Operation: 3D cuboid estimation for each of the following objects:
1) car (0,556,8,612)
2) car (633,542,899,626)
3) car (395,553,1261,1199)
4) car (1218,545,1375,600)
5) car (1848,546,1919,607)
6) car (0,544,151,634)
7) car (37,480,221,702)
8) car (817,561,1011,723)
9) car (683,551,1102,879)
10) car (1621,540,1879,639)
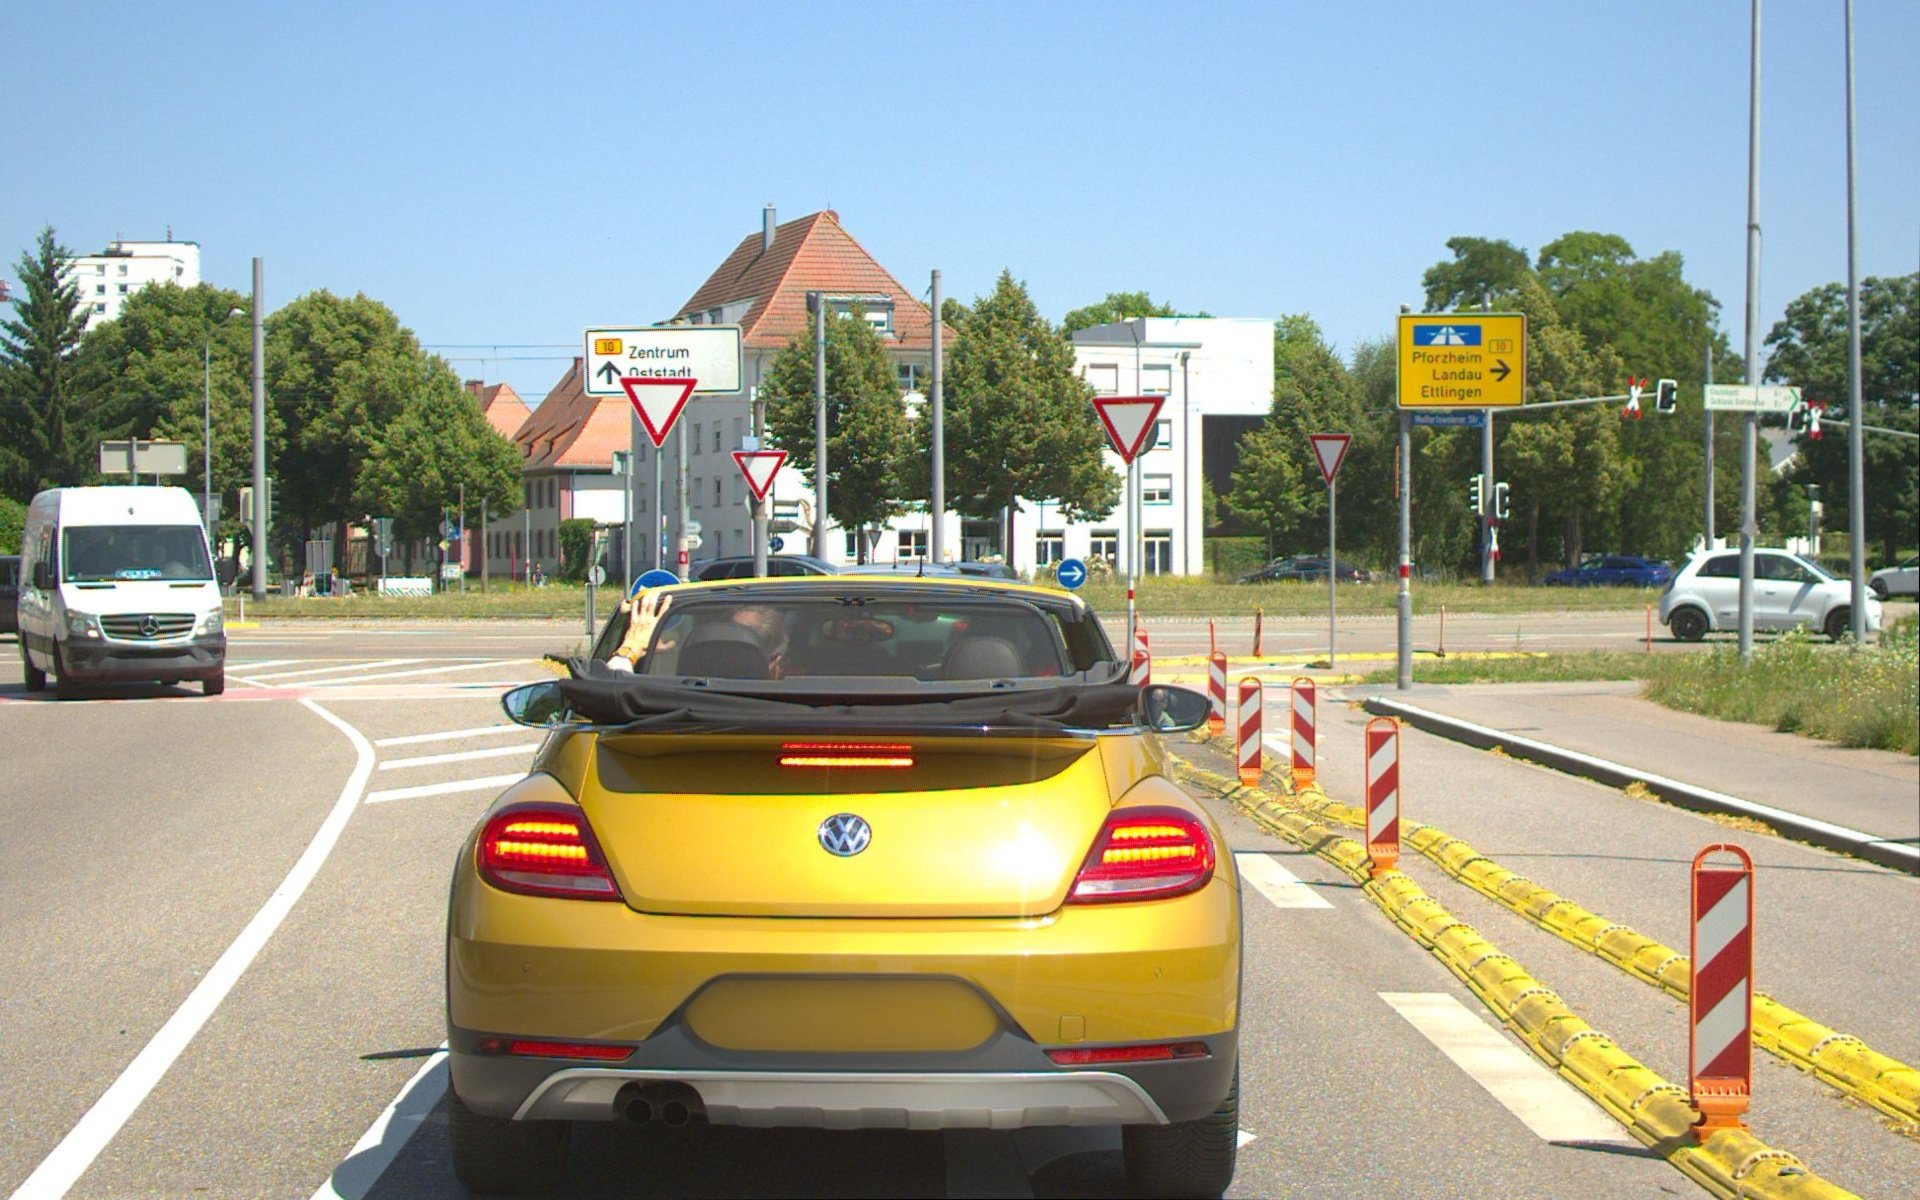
[{"bbox_3d":[-27.224,-0.439,93.156,1.756,1.544,4.000,1,1,0],"label":"car"},{"bbox_3d":[-3.344,-0.283,59.470,4.196,1.386,1.900,1,0,15],"label":"car"},{"bbox_3d":[-0.293,0.604,8.902,1.752,1.417,3.777,1,1,-1],"label":"car"},{"bbox_3d":[11.503,-0.938,117.556,4.922,1.780,2.024,-1,1,24],"label":"car"},{"bbox_3d":[28.854,-0.708,101.839,2.019,1.780,5.181,-1,1,-26],"label":"car"},{"bbox_3d":[-17.177,-0.228,63.517,4.442,1.590,1.996,1,1,38],"label":"car"},{"bbox_3d":[-10.458,-0.132,43.119,2.019,2.530,6.830,-1,1,-14],"label":"car"},{"bbox_3d":[-0.435,0.361,33.035,1.736,1.437,4.000,1,1,0],"label":"car"},{"bbox_3d":[-0.316,0.493,17.259,1.848,1.437,4.000,1,1,0],"label":"car"},{"bbox_3d":[12.931,-0.180,56.470,3.988,1.547,1.740,1,0,9],"label":"car"}]
